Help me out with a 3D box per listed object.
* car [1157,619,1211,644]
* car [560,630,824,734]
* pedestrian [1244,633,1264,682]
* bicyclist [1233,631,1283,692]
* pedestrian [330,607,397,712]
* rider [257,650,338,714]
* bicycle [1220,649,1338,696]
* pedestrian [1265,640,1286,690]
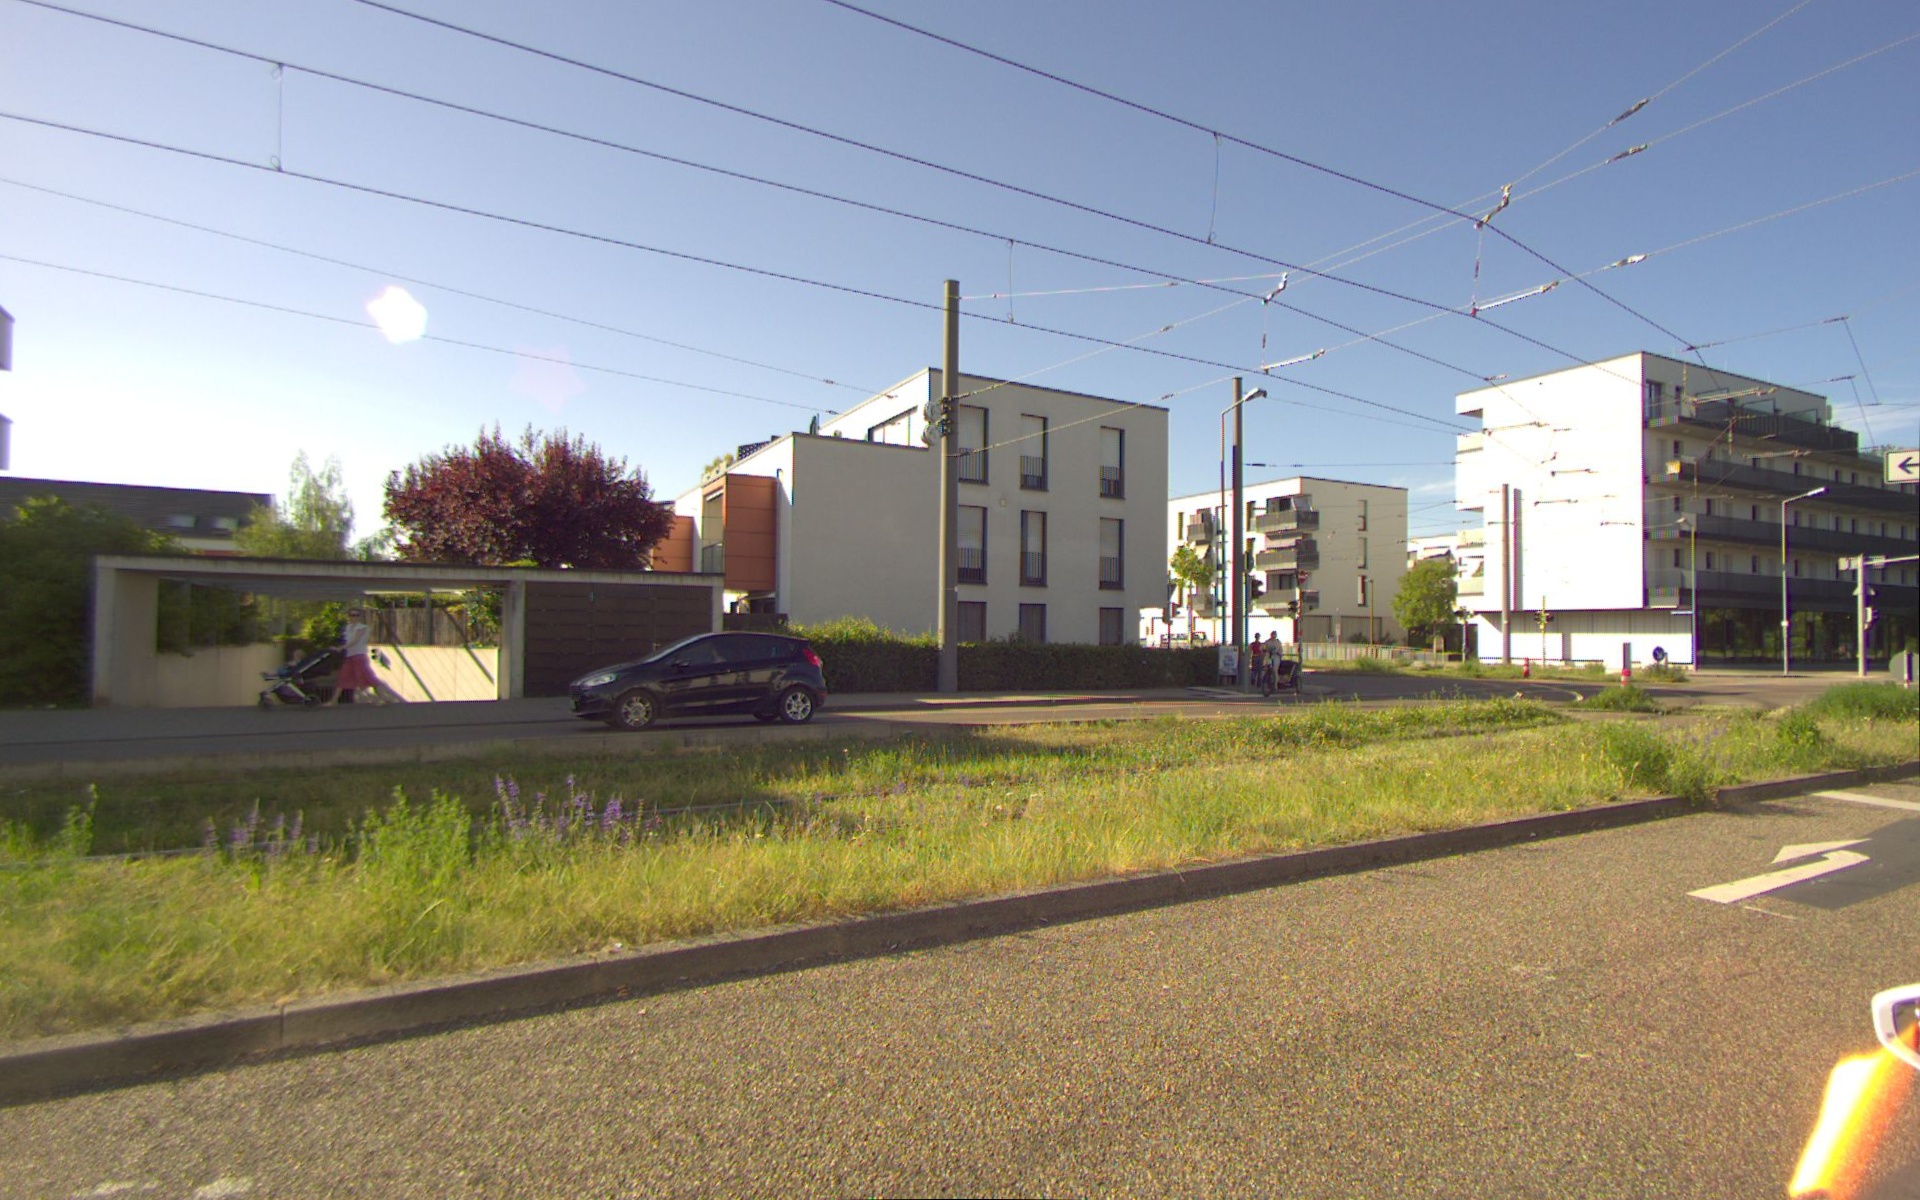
[{"bbox_3d":[17.850,2.475,80.131,1.977,1.862,3.967,1,0,-31],"label":"car"},{"bbox_3d":[-4.165,1.222,15.715,3.696,1.449,1.696,1,-3,-30],"label":"car"},{"bbox_3d":[9.184,1.799,31.374,0.548,1.483,0.742,1,0,19],"label":"pedestrian"},{"bbox_3d":[8.333,1.696,28.116,0.901,1.651,0.969,1,0,-29],"label":"bicyclist"},{"bbox_3d":[-10.400,1.020,17.537,0.897,1.771,0.813,1,0,-25],"label":"pedestrian"},{"bbox_3d":[-11.270,1.375,17.126,1.031,1.016,0.775,1,0,-25],"label":"rider"},{"bbox_3d":[9.113,2.036,28.573,3.651,1.190,0.991,2,1,-31],"label":"bicycle"},{"bbox_3d":[9.653,1.978,30.743,0.548,1.483,0.611,1,0,23],"label":"pedestrian"}]
